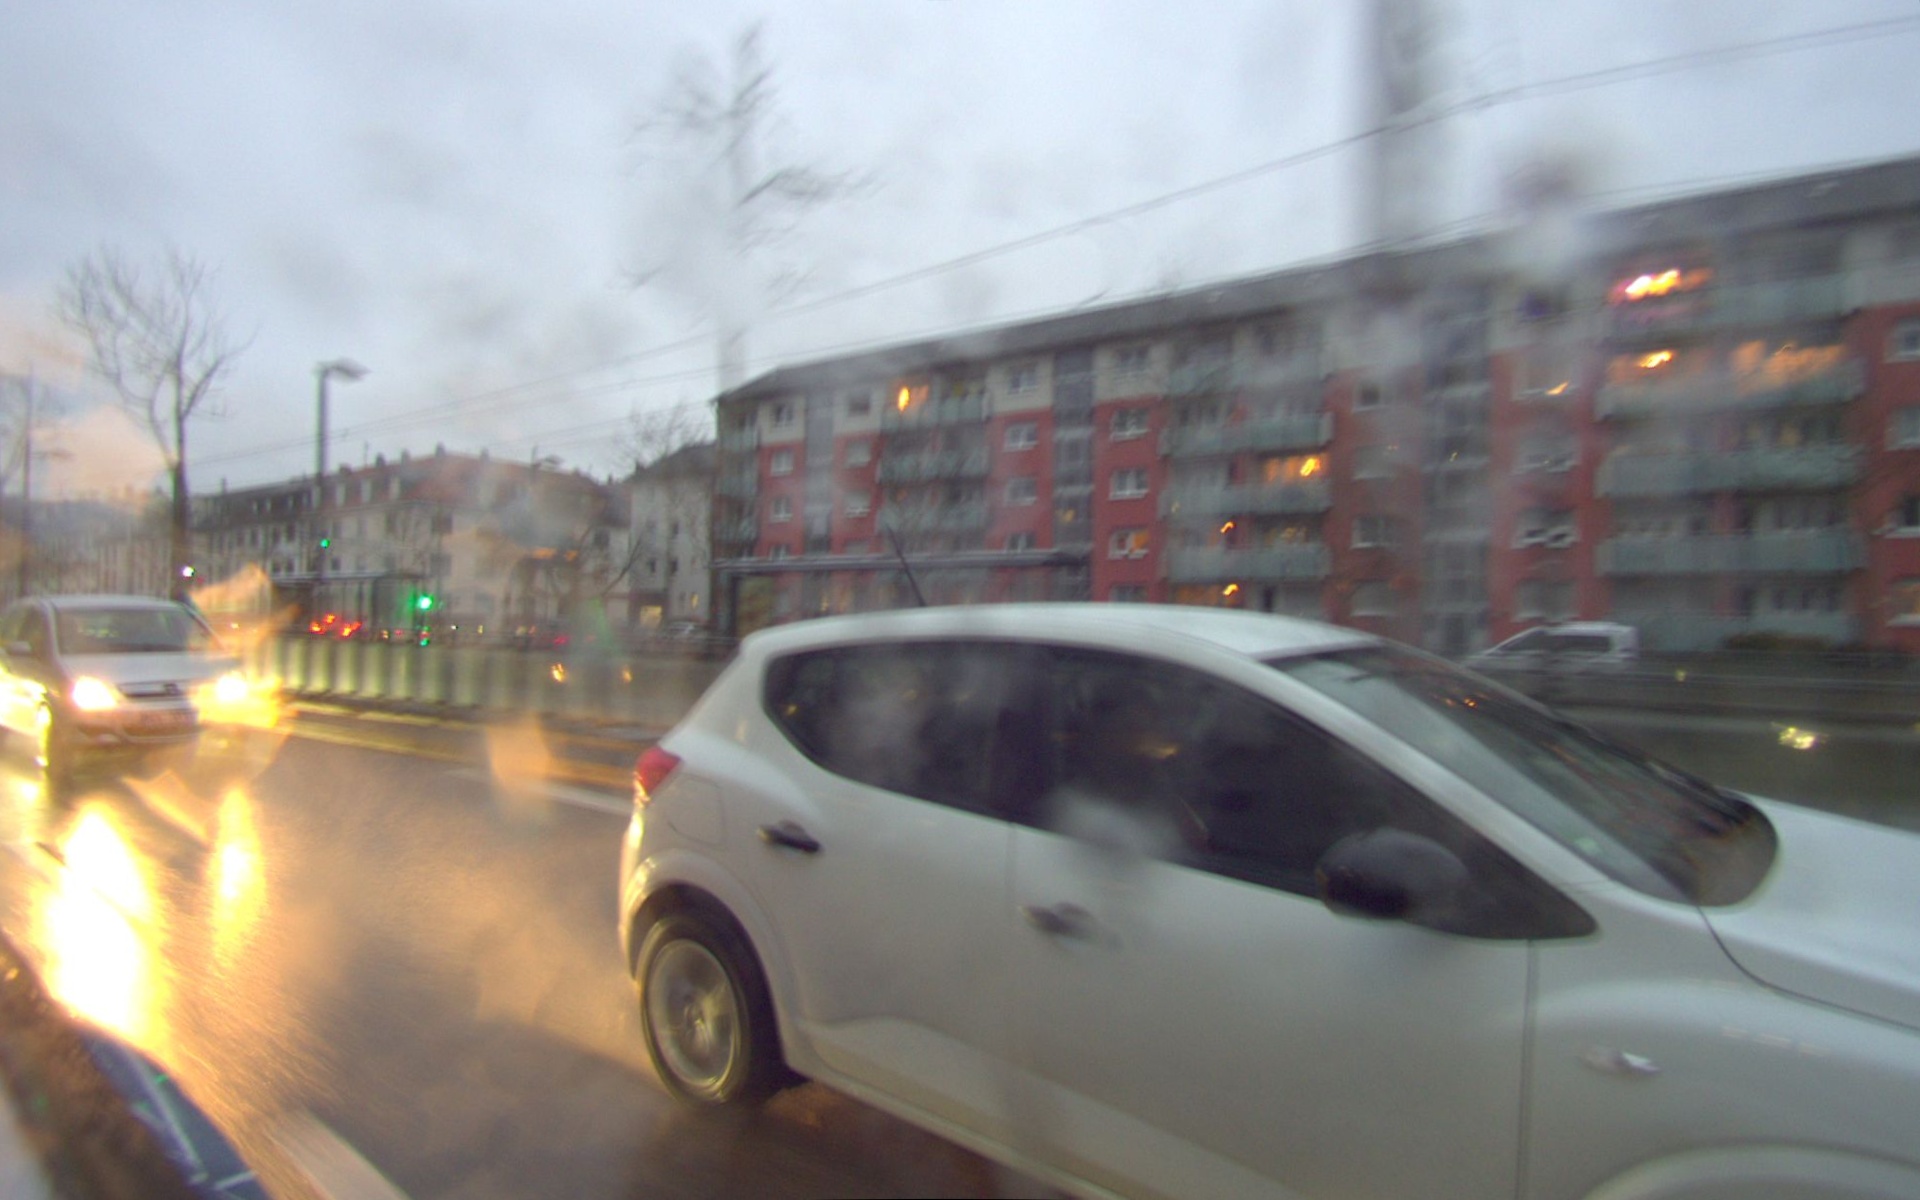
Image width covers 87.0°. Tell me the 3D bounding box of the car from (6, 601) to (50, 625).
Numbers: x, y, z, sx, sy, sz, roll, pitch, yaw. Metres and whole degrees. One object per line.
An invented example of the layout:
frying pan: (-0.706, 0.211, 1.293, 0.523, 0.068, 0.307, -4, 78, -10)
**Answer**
car: (-65.349, 0.908, 70.948, 3.741, 1.651, 1.509, 1, -1, 35)

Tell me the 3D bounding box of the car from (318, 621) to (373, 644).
car: (-27.154, 1.426, 44.677, 2.485, 0.945, 1.134, 1, -1, 34)

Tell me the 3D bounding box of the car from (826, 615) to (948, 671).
car: (-2.141, 1.208, 29.508, 3.230, 1.446, 1.673, 1, 1, 36)

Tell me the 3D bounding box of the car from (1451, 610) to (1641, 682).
car: (15.334, 1.143, 26.566, 4.143, 1.658, 1.709, 1, 1, 37)

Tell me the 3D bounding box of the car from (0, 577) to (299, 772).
car: (-8.961, 0.618, 10.800, 3.994, 1.689, 1.997, 1, 1, 38)

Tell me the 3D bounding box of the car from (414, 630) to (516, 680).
car: (-22.240, 2.395, 45.414, 4.890, 1.927, 2.006, 1, 1, 35)

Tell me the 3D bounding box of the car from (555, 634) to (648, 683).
car: (-15.177, 2.437, 42.802, 3.989, 1.772, 1.677, 1, 1, 34)

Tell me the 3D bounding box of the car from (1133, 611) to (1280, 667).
car: (7.657, 1.159, 31.625, 4.145, 1.555, 1.708, 1, 1, 38)

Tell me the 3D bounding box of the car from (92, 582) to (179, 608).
car: (-74.194, -0.445, 91.177, 5.807, 2.271, 1.828, 1, 0, -23)

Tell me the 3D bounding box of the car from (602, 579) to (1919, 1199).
car: (0.966, 0.701, 2.596, 3.995, 1.477, 1.692, 1, 1, 38)
